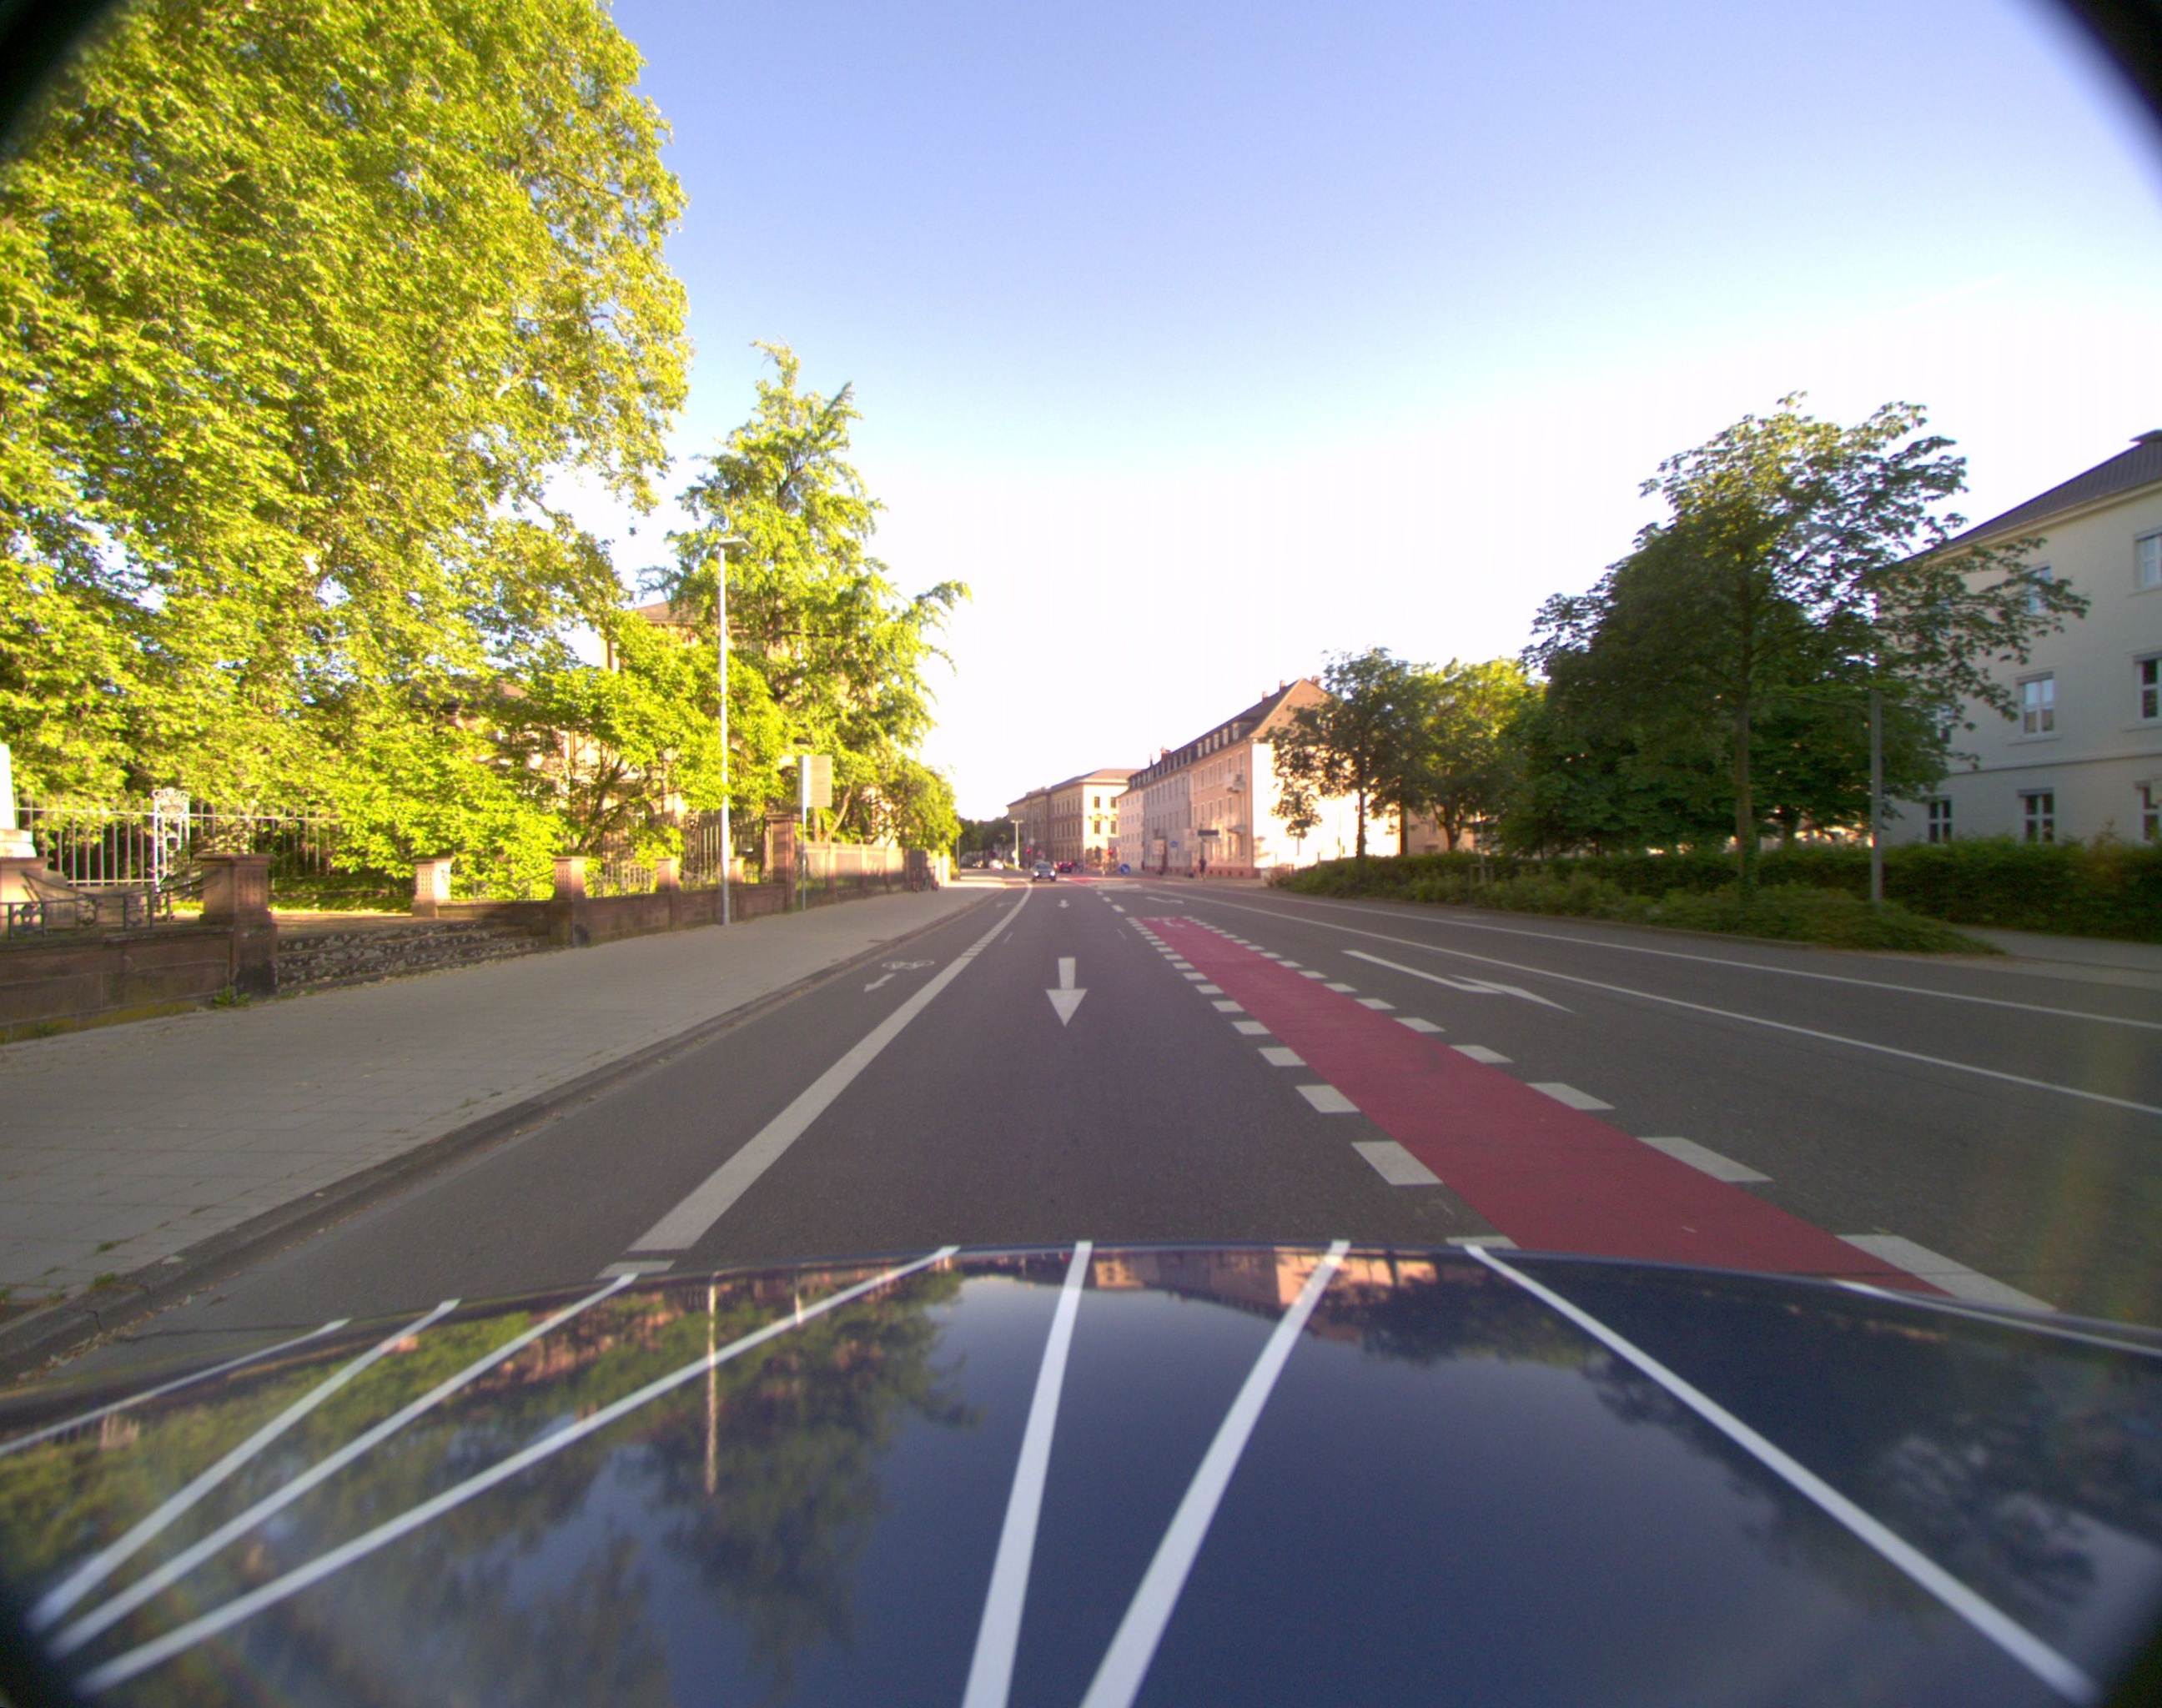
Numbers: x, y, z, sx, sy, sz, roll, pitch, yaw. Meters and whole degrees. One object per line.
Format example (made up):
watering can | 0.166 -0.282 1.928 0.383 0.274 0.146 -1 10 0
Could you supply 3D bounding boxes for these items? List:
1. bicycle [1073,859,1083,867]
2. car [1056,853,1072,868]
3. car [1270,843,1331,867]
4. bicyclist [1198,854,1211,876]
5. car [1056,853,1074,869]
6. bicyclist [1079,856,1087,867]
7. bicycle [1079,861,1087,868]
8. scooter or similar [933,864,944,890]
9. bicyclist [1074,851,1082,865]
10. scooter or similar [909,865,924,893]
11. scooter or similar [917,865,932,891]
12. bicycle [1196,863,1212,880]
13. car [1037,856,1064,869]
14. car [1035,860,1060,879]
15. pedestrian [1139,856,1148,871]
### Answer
bicycle | -0.477 1.262 108.657 0.956 1.216 2.777 0 0 -9
car | -2.296 0.897 102.046 1.999 2.002 3.998 0 0 -5
car | 16.596 0.086 57.532 4.000 1.652 1.998 -2 1 -9
bicyclist | 8.590 0.764 52.955 0.691 1.553 0.838 1 0 -3
car | -2.067 0.862 96.202 1.999 2.002 3.998 0 0 -5
bicyclist | 0.256 0.953 101.164 1.026 1.481 0.870 0 0 -9
bicycle | 0.254 1.370 101.198 0.663 0.907 2.861 0 0 -9
scooter or similar | -7.087 1.143 37.769 0.517 1.233 1.521 0 0 -11
bicyclist | -0.465 0.602 108.601 0.956 2.002 1.307 0 0 -9
scooter or similar | -7.547 1.138 34.835 0.577 1.246 1.486 0 0 -15
scooter or similar | -7.561 1.153 36.687 0.576 1.177 1.487 0 0 -7
bicycle | 8.578 1.230 53.070 0.697 1.152 2.245 1 0 -3
car | -5.201 1.461 129.639 4.513 2.093 2.000 0 0 -1
car | -2.607 1.134 58.115 1.710 1.397 4.262 0 0 -5
pedestrian | 8.076 1.185 98.608 0.949 1.894 1.062 -2 1 -7
